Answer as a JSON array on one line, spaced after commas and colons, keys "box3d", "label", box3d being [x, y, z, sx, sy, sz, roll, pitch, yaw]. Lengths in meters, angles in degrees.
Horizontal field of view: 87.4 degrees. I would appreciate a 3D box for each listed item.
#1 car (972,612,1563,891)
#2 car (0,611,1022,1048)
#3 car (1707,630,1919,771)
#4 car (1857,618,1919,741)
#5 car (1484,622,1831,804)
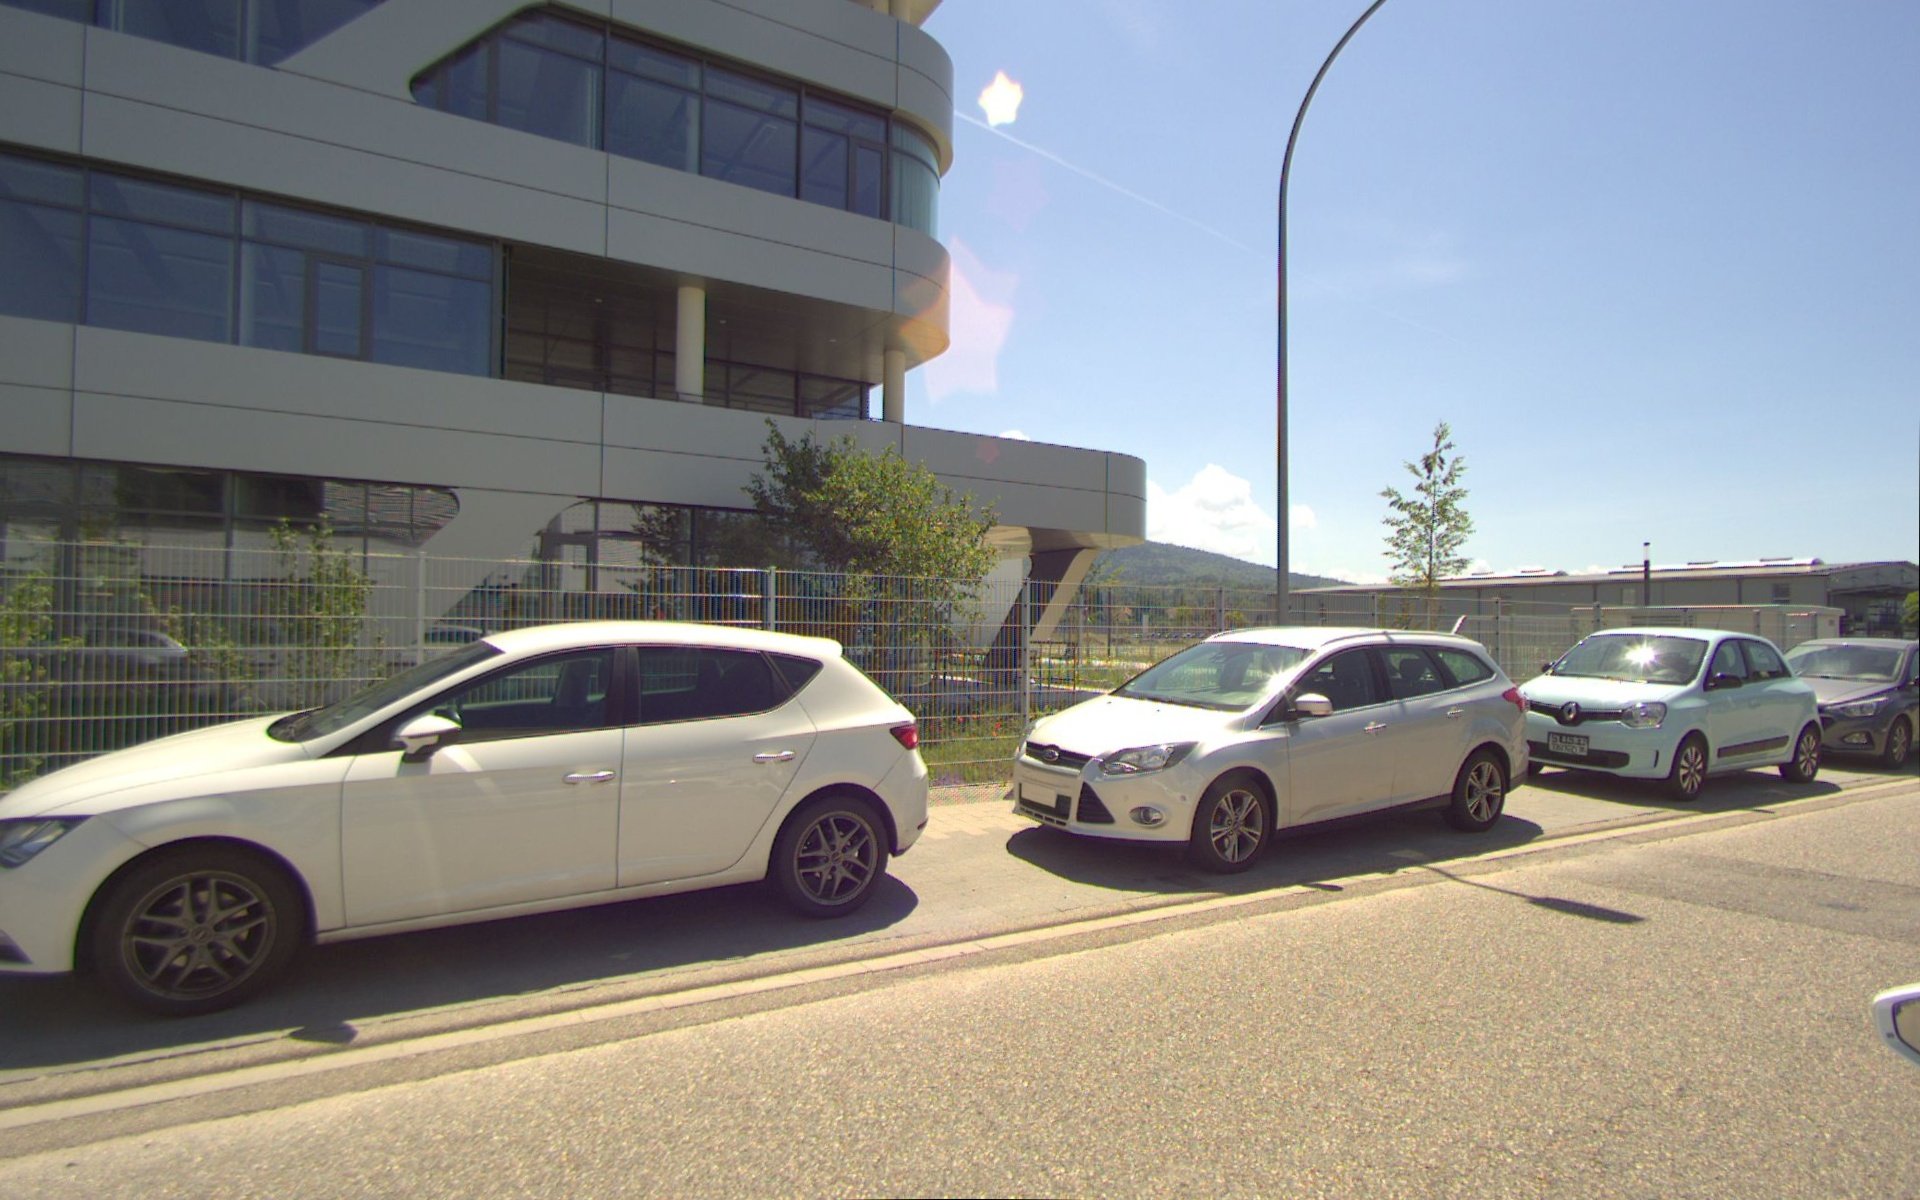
[{"box3d": [2.457, 0.924, 7.587, 4.520, 1.556, 1.694, 2, -1, -31], "label": "car"}, {"box3d": [-1.965, 0.837, 5.175, 4.389, 1.463, 1.694, 2, -1, -31], "label": "car"}, {"box3d": [11.461, 1.189, 12.835, 3.924, 1.520, 1.627, 2, -1, -30], "label": "car"}, {"box3d": [15.698, 1.191, 15.255, 4.568, 1.742, 1.794, 2, -1, -30], "label": "car"}, {"box3d": [7.259, 1.046, 10.389, 3.616, 1.556, 1.626, 2, -1, -31], "label": "car"}]
